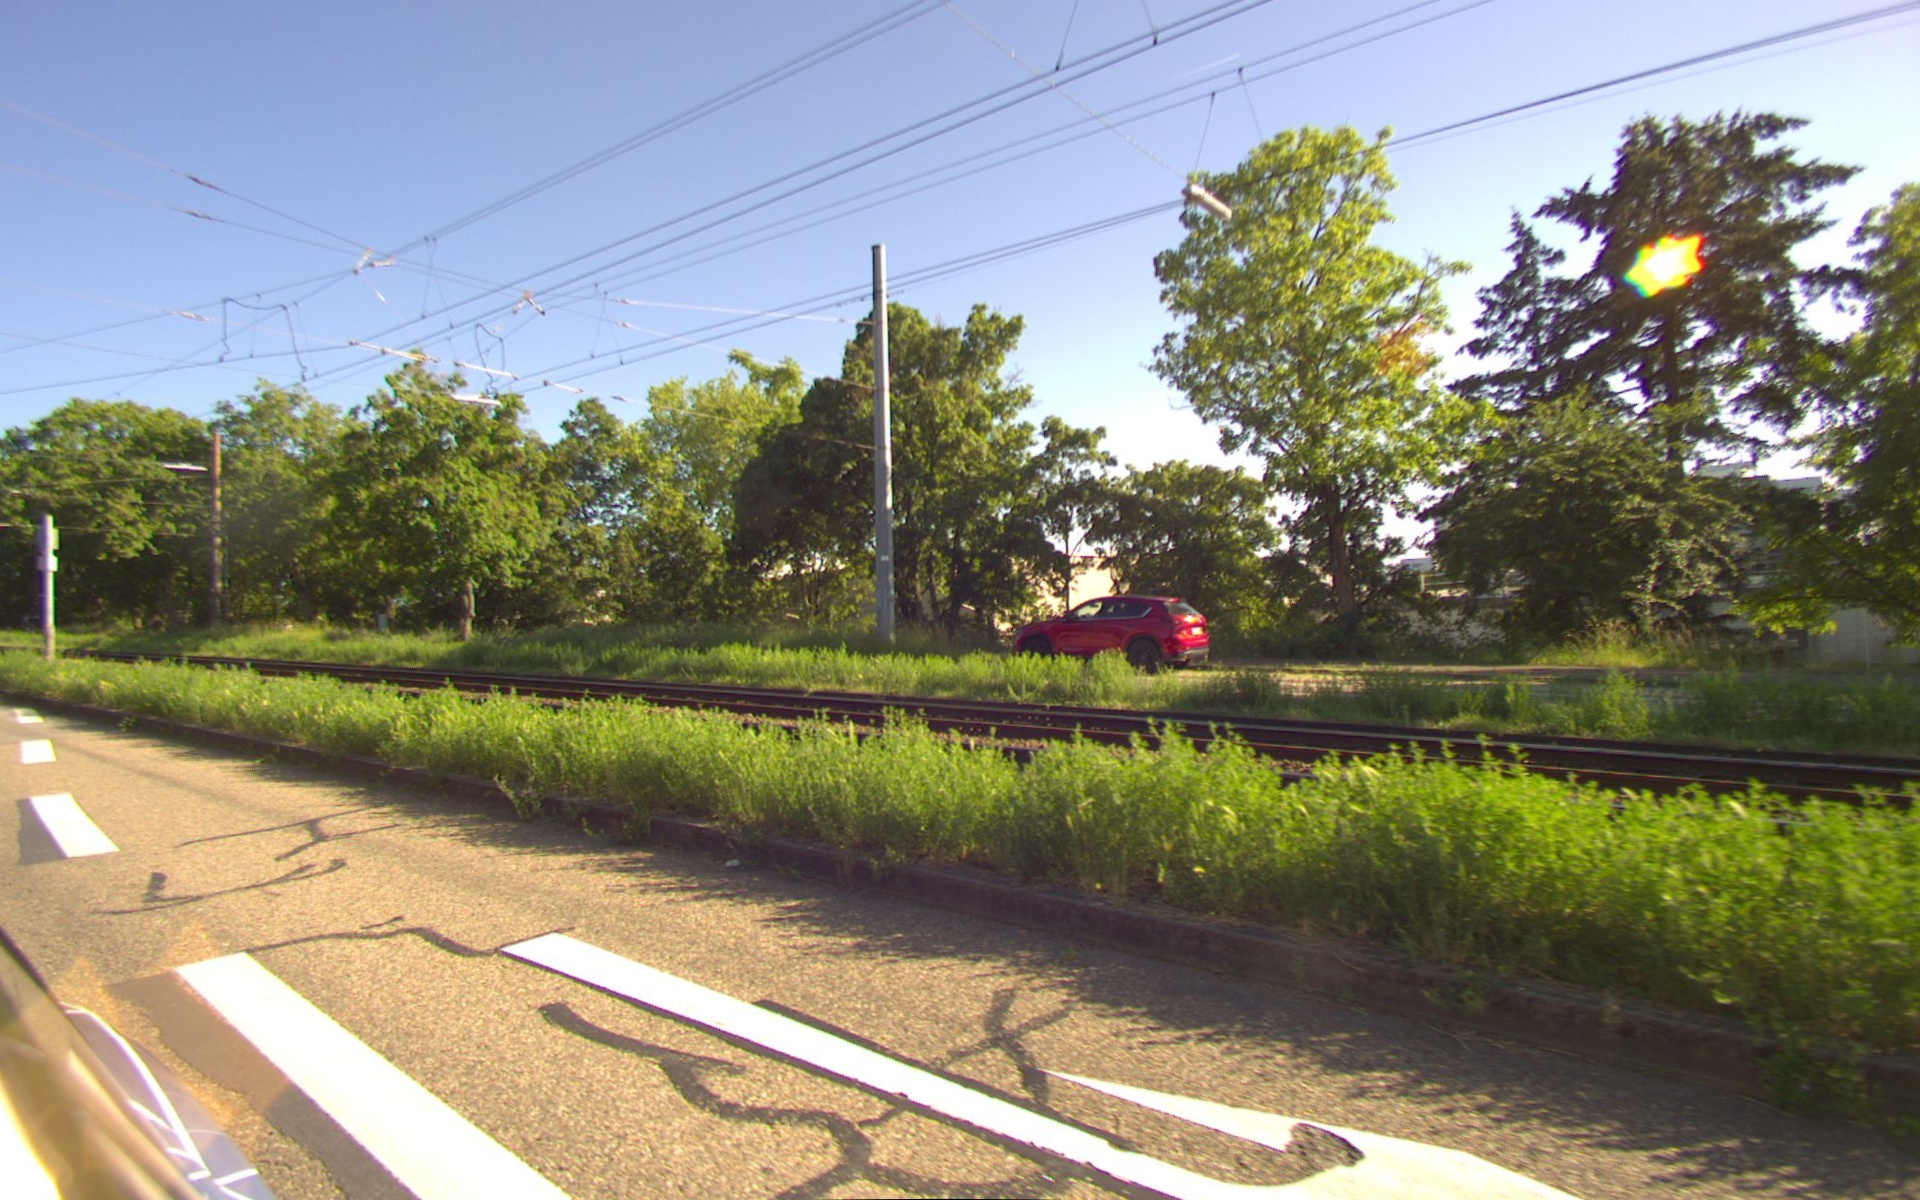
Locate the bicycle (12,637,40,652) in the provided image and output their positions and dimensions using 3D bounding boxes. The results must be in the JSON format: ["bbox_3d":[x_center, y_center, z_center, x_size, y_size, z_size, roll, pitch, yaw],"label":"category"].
[{"bbox_3d":[-61.309,2.923,66.408,2.531,0.921,0.811,-1,0,35],"label":"bicycle"}]

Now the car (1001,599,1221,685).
[{"bbox_3d":[3.302,0.881,22.547,4.461,1.715,1.985,-1,0,38],"label":"car"}]

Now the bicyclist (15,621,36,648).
[{"bbox_3d":[-61.263,2.258,66.336,0.900,1.749,0.812,-1,0,34],"label":"bicyclist"}]
